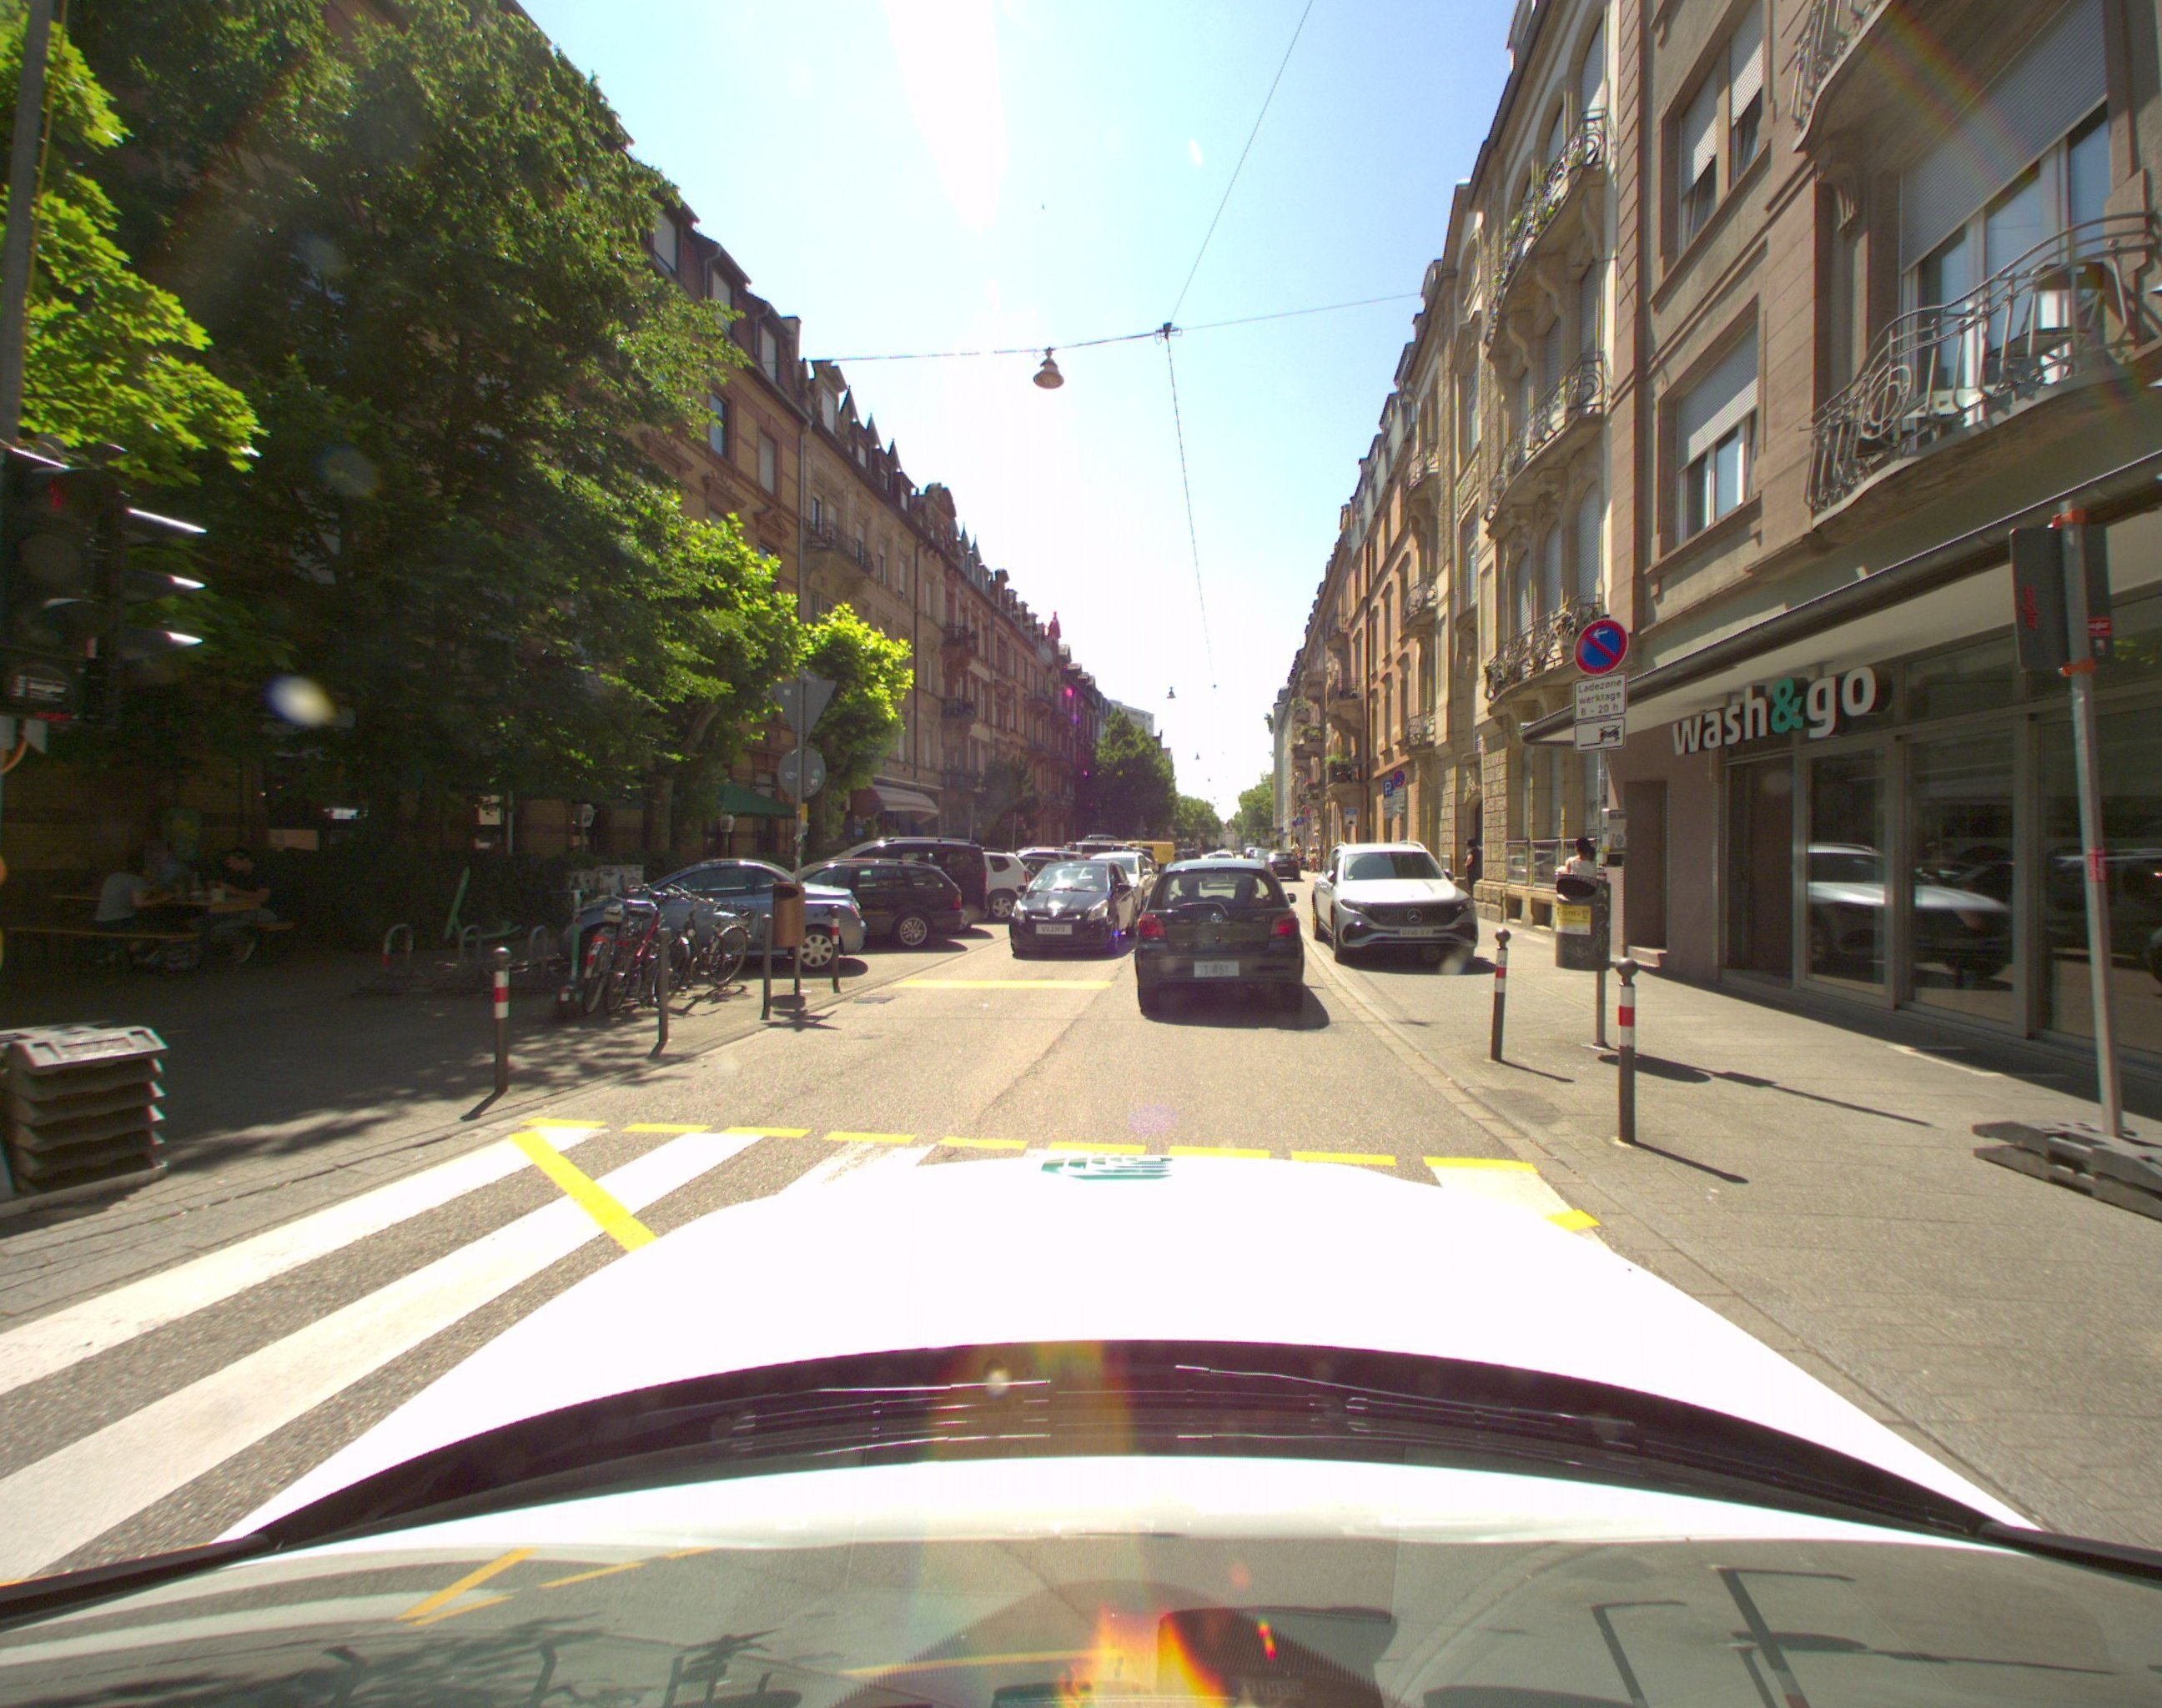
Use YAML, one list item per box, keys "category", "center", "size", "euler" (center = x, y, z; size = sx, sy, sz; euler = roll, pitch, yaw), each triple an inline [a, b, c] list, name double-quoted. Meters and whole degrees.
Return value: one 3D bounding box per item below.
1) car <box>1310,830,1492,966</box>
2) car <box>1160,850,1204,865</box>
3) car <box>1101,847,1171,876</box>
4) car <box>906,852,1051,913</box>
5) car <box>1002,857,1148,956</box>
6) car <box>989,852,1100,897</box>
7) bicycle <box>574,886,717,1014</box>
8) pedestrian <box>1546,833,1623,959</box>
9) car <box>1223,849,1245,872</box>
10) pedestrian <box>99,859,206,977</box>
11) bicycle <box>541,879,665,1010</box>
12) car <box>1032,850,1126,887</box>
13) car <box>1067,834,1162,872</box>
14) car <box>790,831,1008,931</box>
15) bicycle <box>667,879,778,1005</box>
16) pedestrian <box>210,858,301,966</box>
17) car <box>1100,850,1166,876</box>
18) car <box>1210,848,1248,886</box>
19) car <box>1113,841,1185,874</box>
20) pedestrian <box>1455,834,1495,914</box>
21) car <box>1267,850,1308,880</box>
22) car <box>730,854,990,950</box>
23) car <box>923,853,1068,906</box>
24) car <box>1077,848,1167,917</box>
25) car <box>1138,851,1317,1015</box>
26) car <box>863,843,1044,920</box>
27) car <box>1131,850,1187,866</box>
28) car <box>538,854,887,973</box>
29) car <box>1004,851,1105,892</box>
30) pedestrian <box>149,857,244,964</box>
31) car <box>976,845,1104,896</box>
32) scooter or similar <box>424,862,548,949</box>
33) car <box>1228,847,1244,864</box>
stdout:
- category: "car"
  center: [4.694, 0.567, 12.619]
  size: [1.859, 1.713, 4.518]
  euler: [-1, 0, 12]
- category: "car"
  center: [11.723, 0.393, 94.630]
  size: [4.616, 1.726, 1.989]
  euler: [0, 0, -16]
- category: "car"
  center: [3.332, 0.433, 49.461]
  size: [3.914, 1.708, 1.858]
  euler: [0, 0, -13]
- category: "car"
  center: [-2.712, 0.730, 21.402]
  size: [3.621, 1.458, 1.618]
  euler: [2, 0, -12]
- category: "car"
  center: [0.061, 0.794, 14.205]
  size: [1.743, 1.444, 4.013]
  euler: [0, 0, 11]
- category: "car"
  center: [-1.414, 0.752, 30.794]
  size: [3.914, 1.619, 1.858]
  euler: [0, 0, -13]
- category: "bicycle"
  center: [-4.458, 0.925, 8.500]
  size: [0.489, 1.081, 1.897]
  euler: [2, 0, -2]
- category: "pedestrian"
  center: [6.765, 0.535, 10.972]
  size: [0.637, 1.623, 0.806]
  euler: [0, 0, 11]
- category: "car"
  center: [11.223, 0.455, 59.726]
  size: [1.512, 1.592, 3.275]
  euler: [0, 1, 12]
- category: "pedestrian"
  center: [-10.086, 0.668, 8.869]
  size: [0.558, 1.220, 0.594]
  euler: [0, 0, -23]
- category: "bicycle"
  center: [-4.878, 0.869, 8.418]
  size: [0.337, 1.156, 1.619]
  euler: [2, 0, -2]
- category: "car"
  center: [-0.116, 0.623, 36.586]
  size: [3.914, 1.619, 1.858]
  euler: [0, 0, -13]
- category: "car"
  center: [1.796, -0.027, 44.342]
  size: [4.786, 1.994, 2.041]
  euler: [0, 0, -18]
- category: "car"
  center: [-3.612, 0.526, 16.182]
  size: [3.998, 1.804, 1.758]
  euler: [2, 0, -19]
- category: "bicycle"
  center: [-3.900, 0.907, 8.985]
  size: [0.489, 1.173, 1.683]
  euler: [2, 0, -2]
- category: "pedestrian"
  center: [-9.722, 0.658, 9.613]
  size: [0.558, 1.220, 0.594]
  euler: [0, 0, -23]
- category: "car"
  center: [3.323, 0.549, 52.072]
  size: [3.865, 1.640, 1.778]
  euler: [0, 0, -13]
- category: "car"
  center: [6.320, 0.528, 34.817]
  size: [1.513, 1.521, 3.273]
  euler: [0, 1, 10]
- category: "car"
  center: [4.667, 0.221, 56.100]
  size: [4.567, 2.187, 1.989]
  euler: [0, 0, -16]
- category: "pedestrian"
  center: [8.831, 0.439, 18.271]
  size: [0.510, 1.750, 0.750]
  euler: [-2, 0, 4]
- category: "car"
  center: [10.214, 0.506, 40.469]
  size: [1.743, 1.429, 4.013]
  euler: [0, 0, 11]
- category: "car"
  center: [-3.768, 0.779, 13.959]
  size: [4.002, 1.412, 1.957]
  euler: [2, 0, -21]
- category: "car"
  center: [-2.559, 0.724, 24.450]
  size: [3.933, 1.470, 1.849]
  euler: [0, 0, -29]
- category: "car"
  center: [1.226, 0.707, 22.310]
  size: [1.743, 1.645, 4.391]
  euler: [-3, 0, 11]
- category: "car"
  center: [1.509, 0.746, 9.130]
  size: [1.606, 1.485, 3.246]
  euler: [-1, 0, 6]
- category: "car"
  center: [-2.988, 0.624, 19.155]
  size: [3.990, 1.658, 1.753]
  euler: [2, 0, -13]
- category: "car"
  center: [6.911, 0.370, 72.411]
  size: [4.567, 1.434, 1.989]
  euler: [0, 0, -16]
- category: "car"
  center: [-4.818, 0.756, 11.240]
  size: [3.998, 1.375, 1.988]
  euler: [2, 0, -18]
- category: "car"
  center: [-1.114, 0.697, 33.402]
  size: [3.914, 1.619, 1.858]
  euler: [0, 0, -13]
- category: "pedestrian"
  center: [-10.539, 0.647, 9.723]
  size: [0.558, 1.220, 0.594]
  euler: [0, 0, -23]
- category: "car"
  center: [-1.381, 0.530, 27.654]
  size: [3.934, 1.619, 1.848]
  euler: [0, 0, -30]
- category: "scooter or similar"
  center: [-8.308, 0.686, 11.443]
  size: [0.275, 1.120, 1.477]
  euler: [3, 1, 19]
- category: "car"
  center: [15.625, 0.122, 81.978]
  size: [1.513, 1.592, 3.273]
  euler: [0, 1, 10]
